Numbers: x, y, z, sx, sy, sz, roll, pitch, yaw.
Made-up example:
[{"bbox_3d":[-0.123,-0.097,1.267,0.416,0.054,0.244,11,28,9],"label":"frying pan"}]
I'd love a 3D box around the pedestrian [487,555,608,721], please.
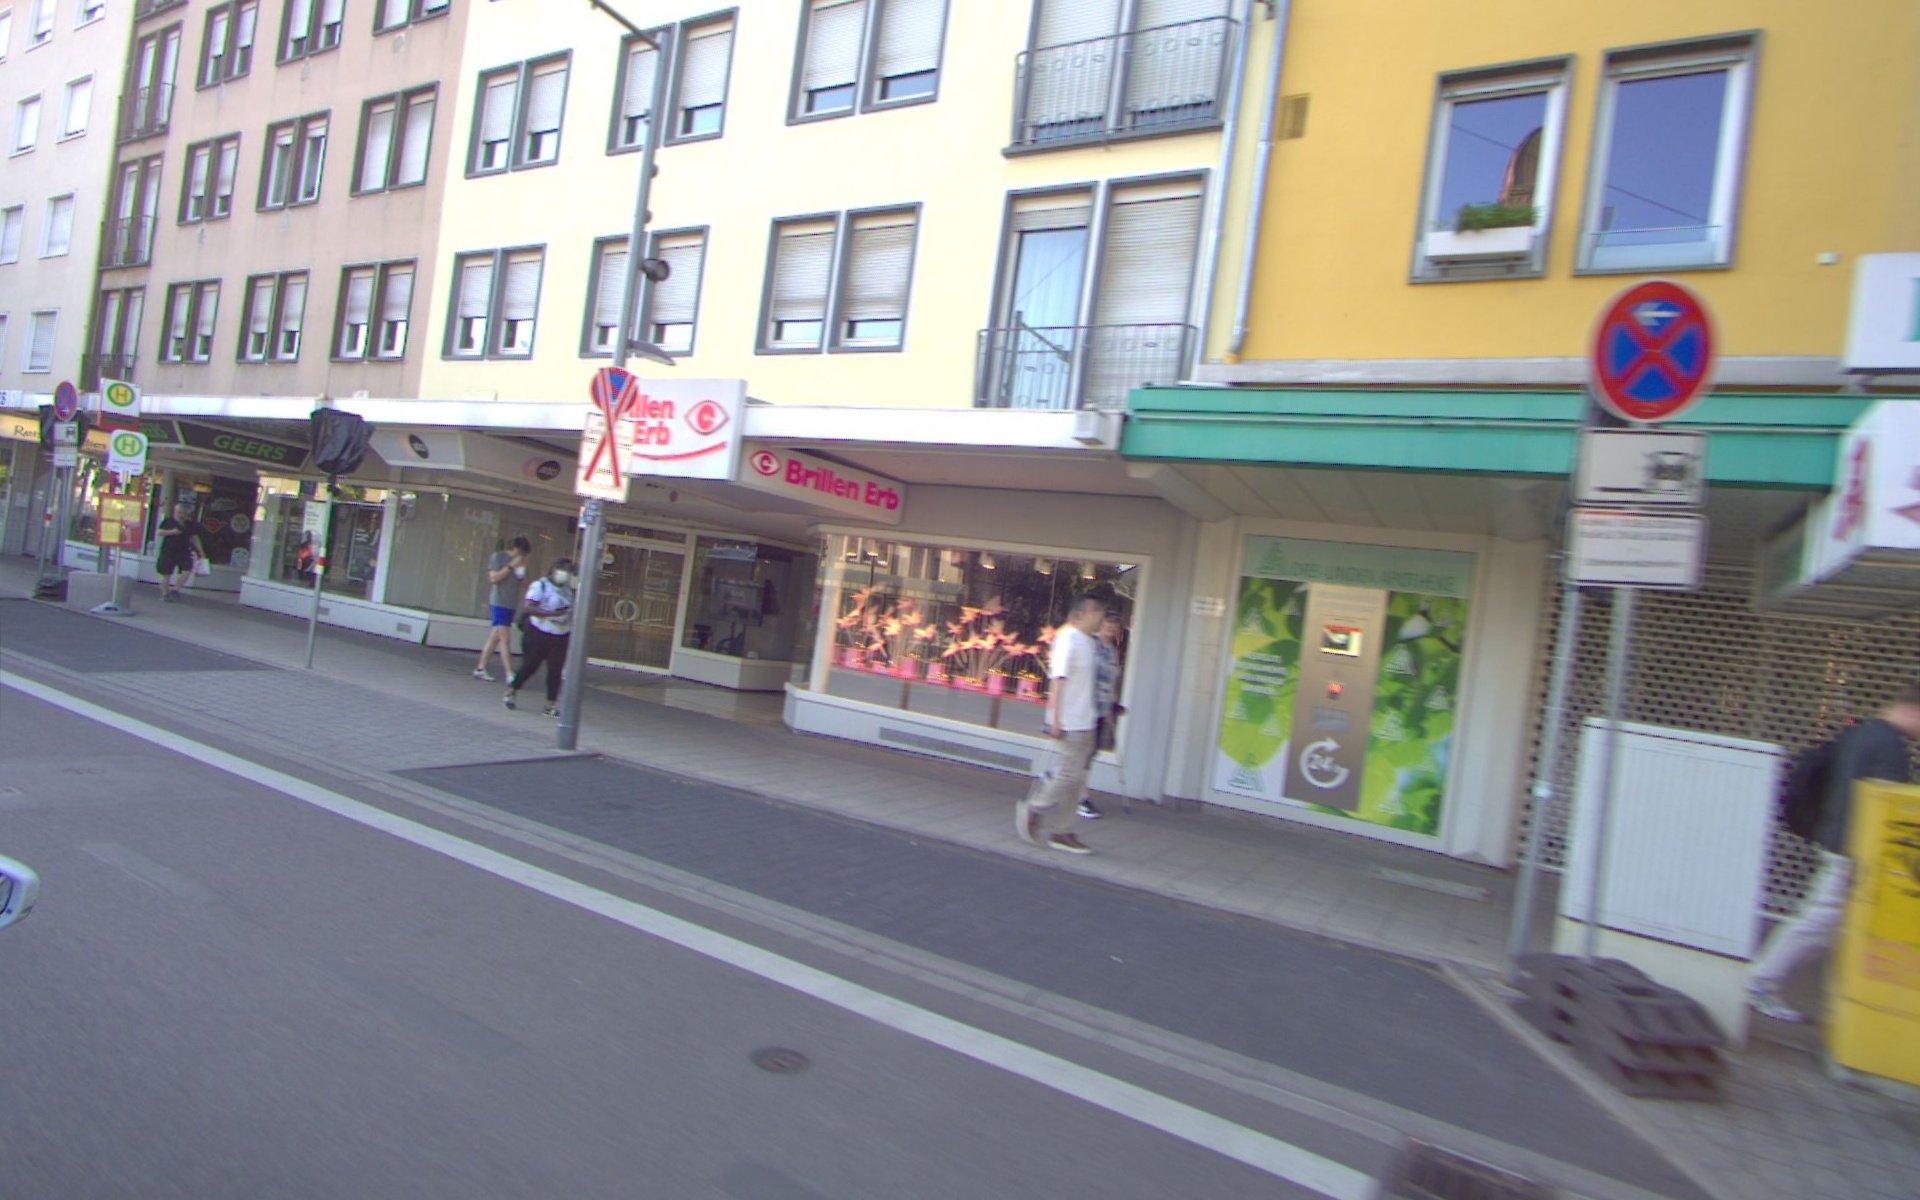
[{"bbox_3d":[-4.289,0.391,10.466,0.836,1.597,0.611,7,0,30],"label":"pedestrian"}]

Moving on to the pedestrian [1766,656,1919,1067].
[{"bbox_3d":[4.604,1.241,4.926,0.753,1.828,0.725,7,0,30],"label":"pedestrian"}]

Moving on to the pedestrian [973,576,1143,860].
[{"bbox_3d":[0.701,0.795,7.069,0.753,1.800,0.725,7,0,30],"label":"pedestrian"}]

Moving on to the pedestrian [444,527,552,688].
[{"bbox_3d":[-5.695,0.107,12.417,0.753,1.862,0.725,7,0,30],"label":"pedestrian"}]

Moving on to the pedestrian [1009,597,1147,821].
[{"bbox_3d":[1.017,0.910,8.613,0.753,1.744,0.725,7,0,30],"label":"pedestrian"}]

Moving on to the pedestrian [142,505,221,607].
[{"bbox_3d":[-13.555,-0.760,17.523,0.753,1.652,0.725,7,0,30],"label":"pedestrian"}]
